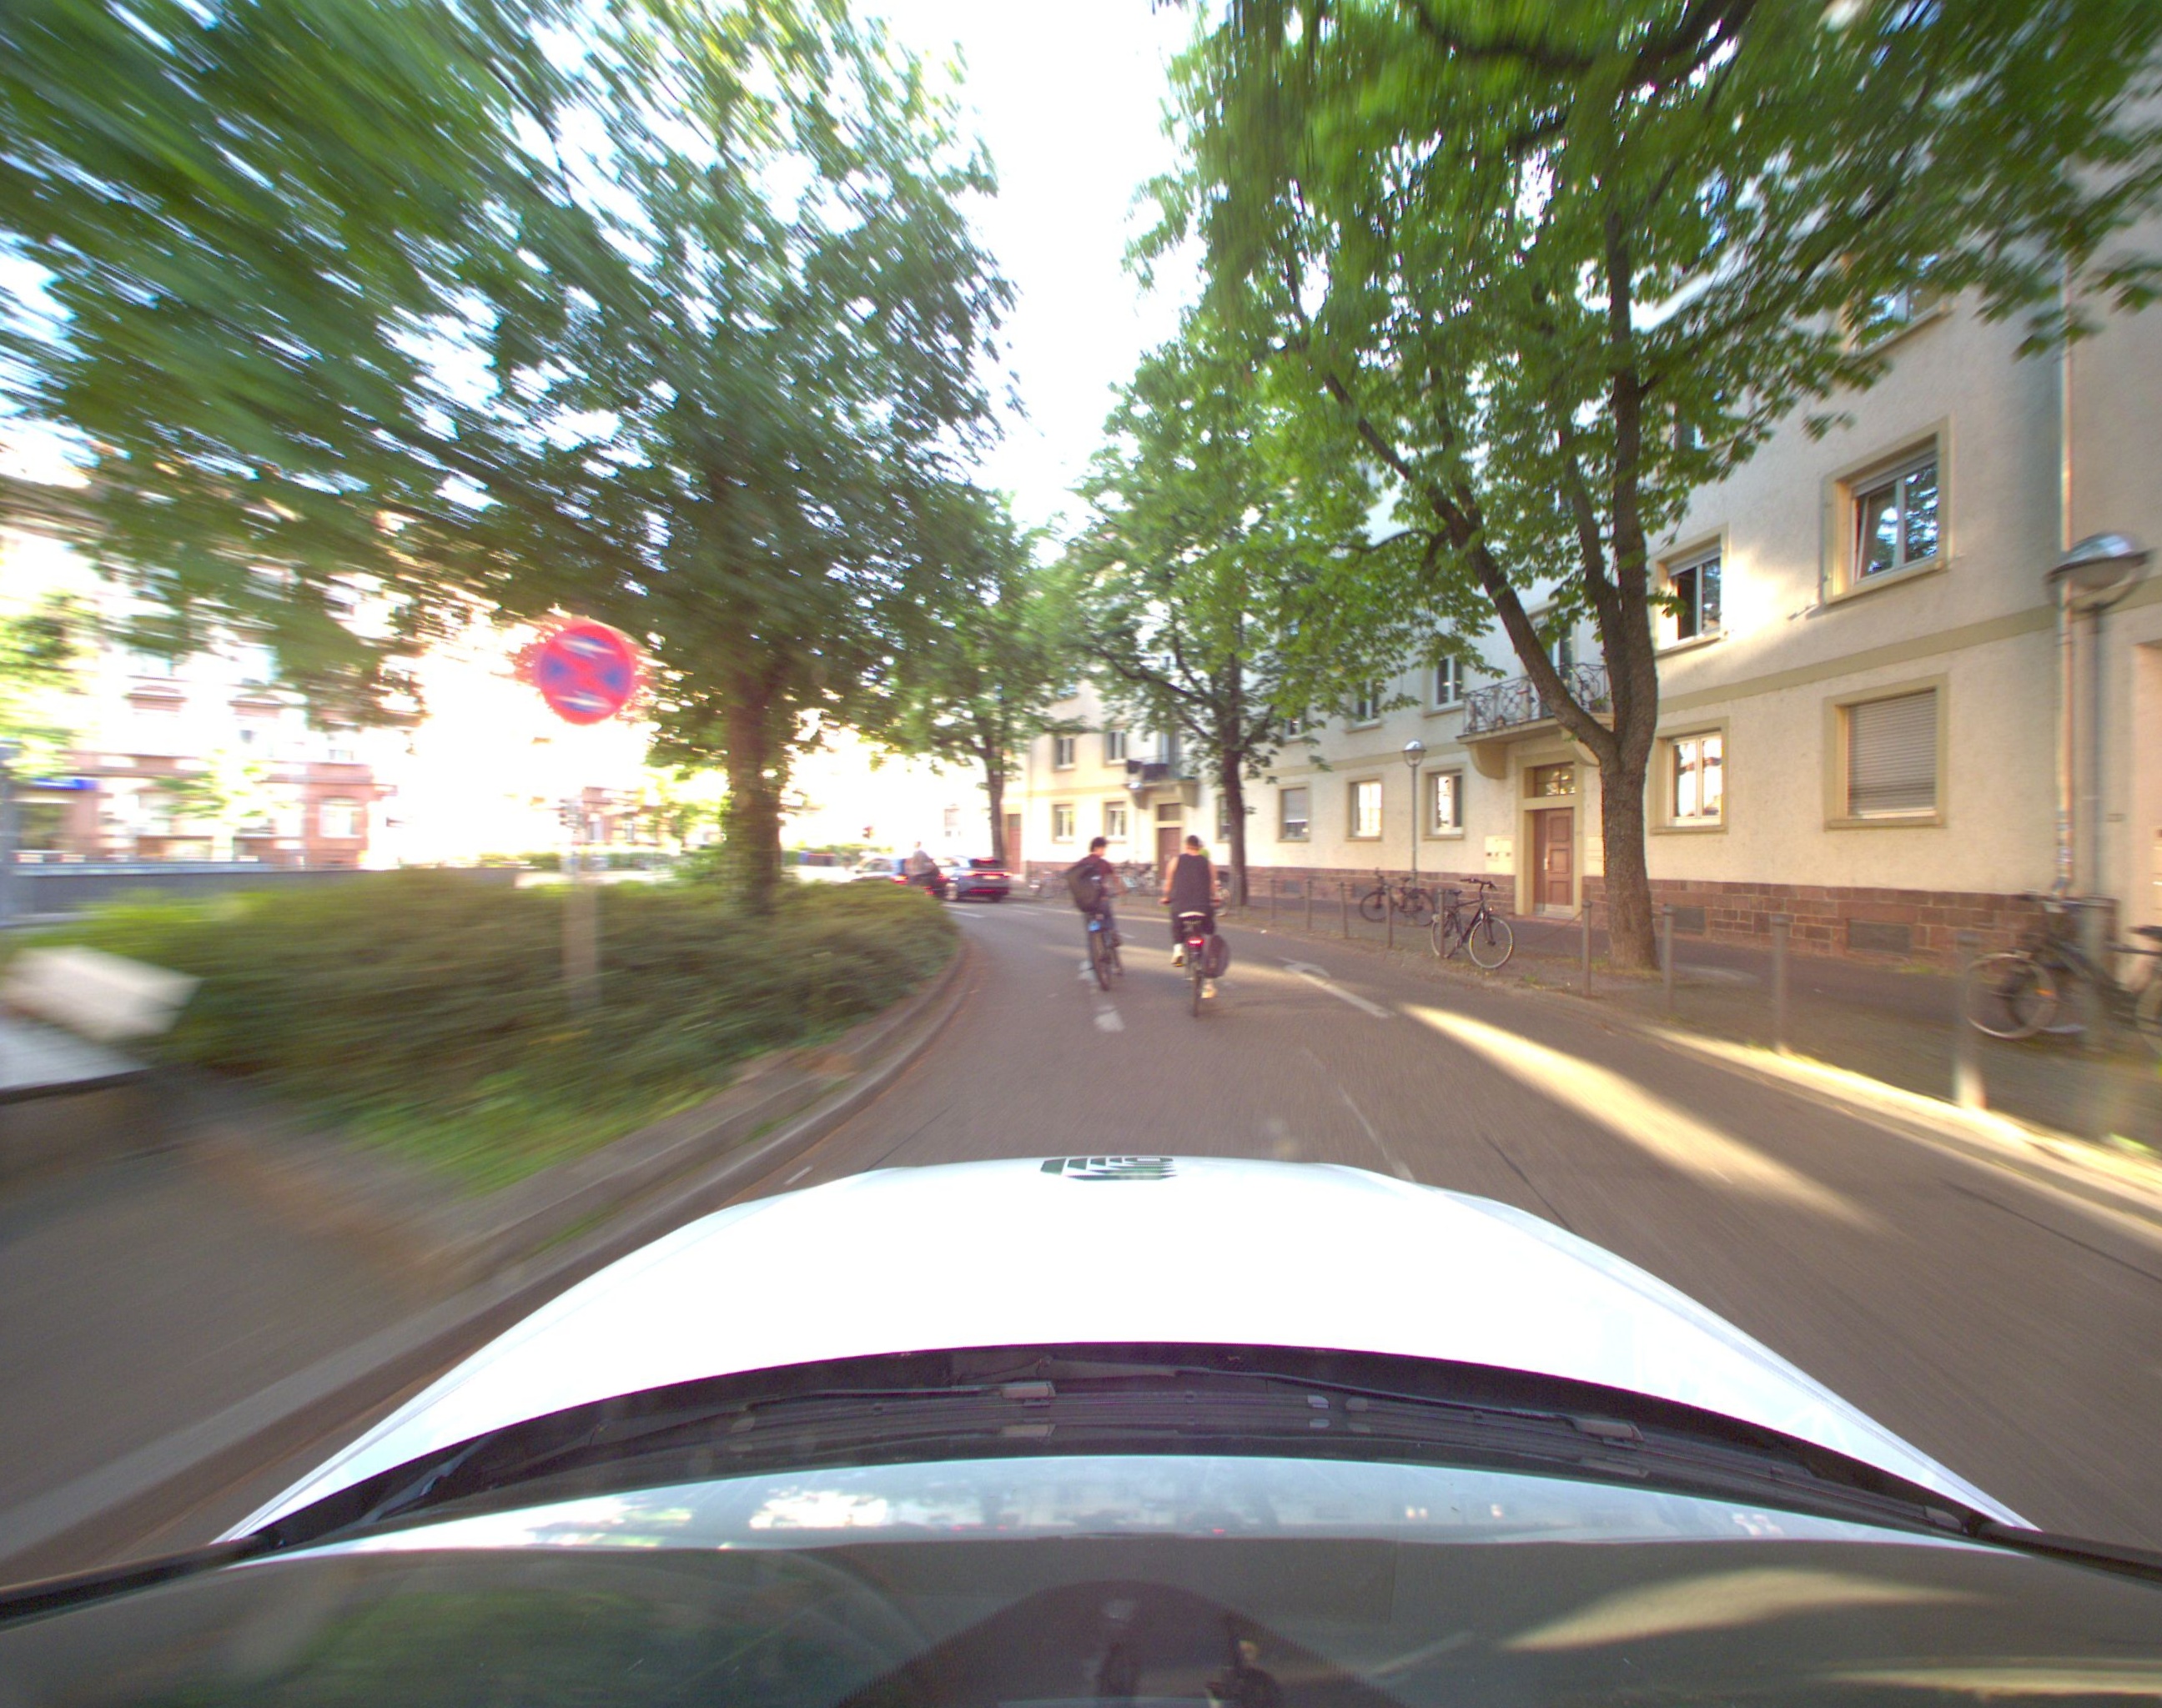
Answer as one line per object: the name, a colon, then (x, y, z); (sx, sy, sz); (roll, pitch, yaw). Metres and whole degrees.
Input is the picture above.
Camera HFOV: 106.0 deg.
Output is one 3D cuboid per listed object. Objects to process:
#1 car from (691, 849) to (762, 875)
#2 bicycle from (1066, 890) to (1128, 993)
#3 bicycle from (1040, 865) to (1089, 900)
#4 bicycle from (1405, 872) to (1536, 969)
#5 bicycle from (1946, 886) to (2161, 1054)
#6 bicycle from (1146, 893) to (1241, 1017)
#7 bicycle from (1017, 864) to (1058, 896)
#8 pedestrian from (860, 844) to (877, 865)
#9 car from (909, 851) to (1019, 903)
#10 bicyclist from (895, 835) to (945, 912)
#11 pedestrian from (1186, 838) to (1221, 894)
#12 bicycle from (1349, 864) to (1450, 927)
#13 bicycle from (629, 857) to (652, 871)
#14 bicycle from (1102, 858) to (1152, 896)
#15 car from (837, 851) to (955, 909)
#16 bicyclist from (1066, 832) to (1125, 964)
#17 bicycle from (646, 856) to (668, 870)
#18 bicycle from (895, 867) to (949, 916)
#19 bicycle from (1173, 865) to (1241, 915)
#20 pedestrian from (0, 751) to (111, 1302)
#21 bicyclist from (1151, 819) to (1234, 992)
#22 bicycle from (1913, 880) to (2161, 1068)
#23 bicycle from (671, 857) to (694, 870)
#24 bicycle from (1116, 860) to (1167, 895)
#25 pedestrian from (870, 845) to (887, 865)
car: (-22.755, 0.466, 52.490); (1.980, 1.496, 4.390); (0, 2, 12)
bicycle: (0.171, 1.002, 9.957); (0.672, 1.054, 2.060); (-1, -1, 0)
bicycle: (-0.552, 0.907, 26.649); (0.620, 1.058, 1.908); (-2, 1, -35)
bicycle: (5.243, 0.846, 11.131); (0.678, 1.158, 1.997); (-1, 0, -6)
bicycle: (7.653, 0.833, 6.047); (0.391, 1.109, 1.798); (0, 0, -8)
bicycle: (1.121, 0.979, 8.528); (0.735, 1.012, 2.062); (-1, 0, 1)
bicycle: (-1.514, 0.877, 27.907); (0.523, 0.999, 2.171); (0, 0, -29)
pedestrian: (-20.856, 0.053, 80.037); (1.152, 1.962, 1.390); (0, 0, 7)
car: (-3.980, 0.699, 27.250); (1.907, 1.577, 3.954); (0, 0, -39)
bicyclist: (-4.161, 0.482, 20.969); (0.857, 1.898, 1.127); (0, 0, -37)
pedestrian: (4.032, 0.392, 26.758); (1.003, 1.795, 0.651); (-2, 1, -42)
bicycle: (6.465, 0.819, 16.612); (0.676, 1.182, 1.802); (-2, 0, -35)
bicycle: (-28.439, 0.624, 52.611); (0.445, 0.861, 1.231); (0, 0, 27)
bicycle: (1.517, 0.748, 27.320); (0.498, 1.172, 2.095); (-4, 2, -33)
car: (-5.677, 0.734, 24.684); (1.828, 1.543, 3.911); (-2, 1, -41)
bicyclist: (0.166, 0.505, 9.900); (0.669, 1.514, 1.069); (-1, 0, 0)
bicycle: (-27.964, 0.591, 53.728); (0.445, 0.861, 1.231); (0, 0, 27)
bicycle: (-4.097, 0.928, 20.911); (0.602, 1.161, 2.020); (1, 0, -35)
bicycle: (3.121, 0.873, 20.361); (0.619, 1.112, 1.975); (-3, 2, -26)
pedestrian: (-3.766, 0.525, 2.546); (0.770, 1.684, 0.924); (1, 0, 41)
bicyclist: (1.122, 0.498, 8.391); (0.749, 1.682, 0.913); (0, 0, 1)
bicycle: (7.237, 0.813, 5.920); (0.436, 1.181, 1.781); (0, 0, -6)
bicycle: (-27.452, 0.637, 56.140); (0.445, 0.861, 1.455); (0, 0, 27)
bicycle: (2.017, 0.773, 27.655); (0.586, 1.114, 2.095); (-1, 1, -33)
pedestrian: (-19.692, 0.086, 79.335); (1.152, 1.962, 1.390); (0, 0, 7)
